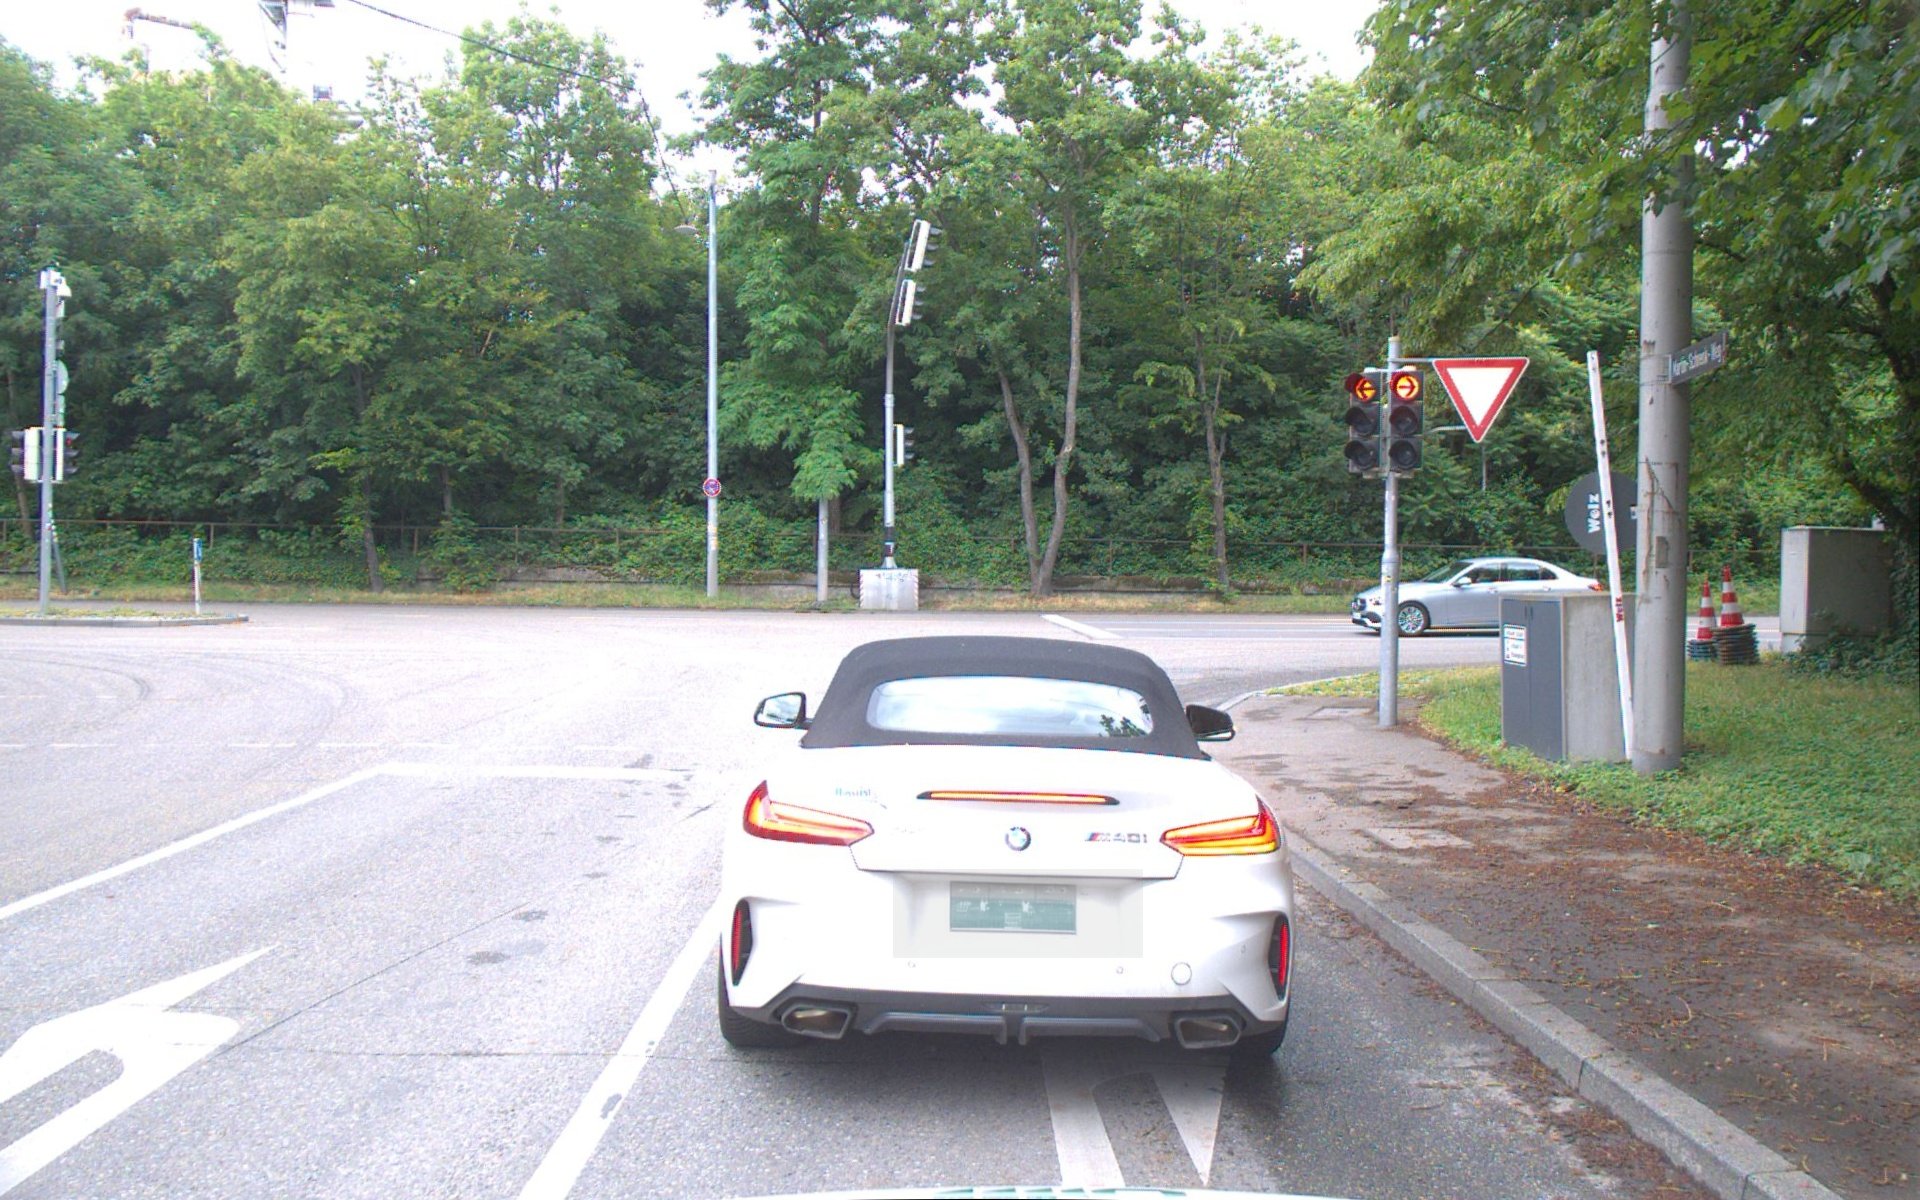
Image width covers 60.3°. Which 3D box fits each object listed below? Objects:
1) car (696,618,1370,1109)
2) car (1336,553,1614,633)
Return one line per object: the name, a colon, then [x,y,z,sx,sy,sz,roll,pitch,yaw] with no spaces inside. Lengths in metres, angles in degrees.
car: [0.113,0.755,6.455,1.791,1.279,3.997,2,-1,-3]
car: [9.678,-0.153,31.304,4.655,1.356,1.833,1,3,-2]
